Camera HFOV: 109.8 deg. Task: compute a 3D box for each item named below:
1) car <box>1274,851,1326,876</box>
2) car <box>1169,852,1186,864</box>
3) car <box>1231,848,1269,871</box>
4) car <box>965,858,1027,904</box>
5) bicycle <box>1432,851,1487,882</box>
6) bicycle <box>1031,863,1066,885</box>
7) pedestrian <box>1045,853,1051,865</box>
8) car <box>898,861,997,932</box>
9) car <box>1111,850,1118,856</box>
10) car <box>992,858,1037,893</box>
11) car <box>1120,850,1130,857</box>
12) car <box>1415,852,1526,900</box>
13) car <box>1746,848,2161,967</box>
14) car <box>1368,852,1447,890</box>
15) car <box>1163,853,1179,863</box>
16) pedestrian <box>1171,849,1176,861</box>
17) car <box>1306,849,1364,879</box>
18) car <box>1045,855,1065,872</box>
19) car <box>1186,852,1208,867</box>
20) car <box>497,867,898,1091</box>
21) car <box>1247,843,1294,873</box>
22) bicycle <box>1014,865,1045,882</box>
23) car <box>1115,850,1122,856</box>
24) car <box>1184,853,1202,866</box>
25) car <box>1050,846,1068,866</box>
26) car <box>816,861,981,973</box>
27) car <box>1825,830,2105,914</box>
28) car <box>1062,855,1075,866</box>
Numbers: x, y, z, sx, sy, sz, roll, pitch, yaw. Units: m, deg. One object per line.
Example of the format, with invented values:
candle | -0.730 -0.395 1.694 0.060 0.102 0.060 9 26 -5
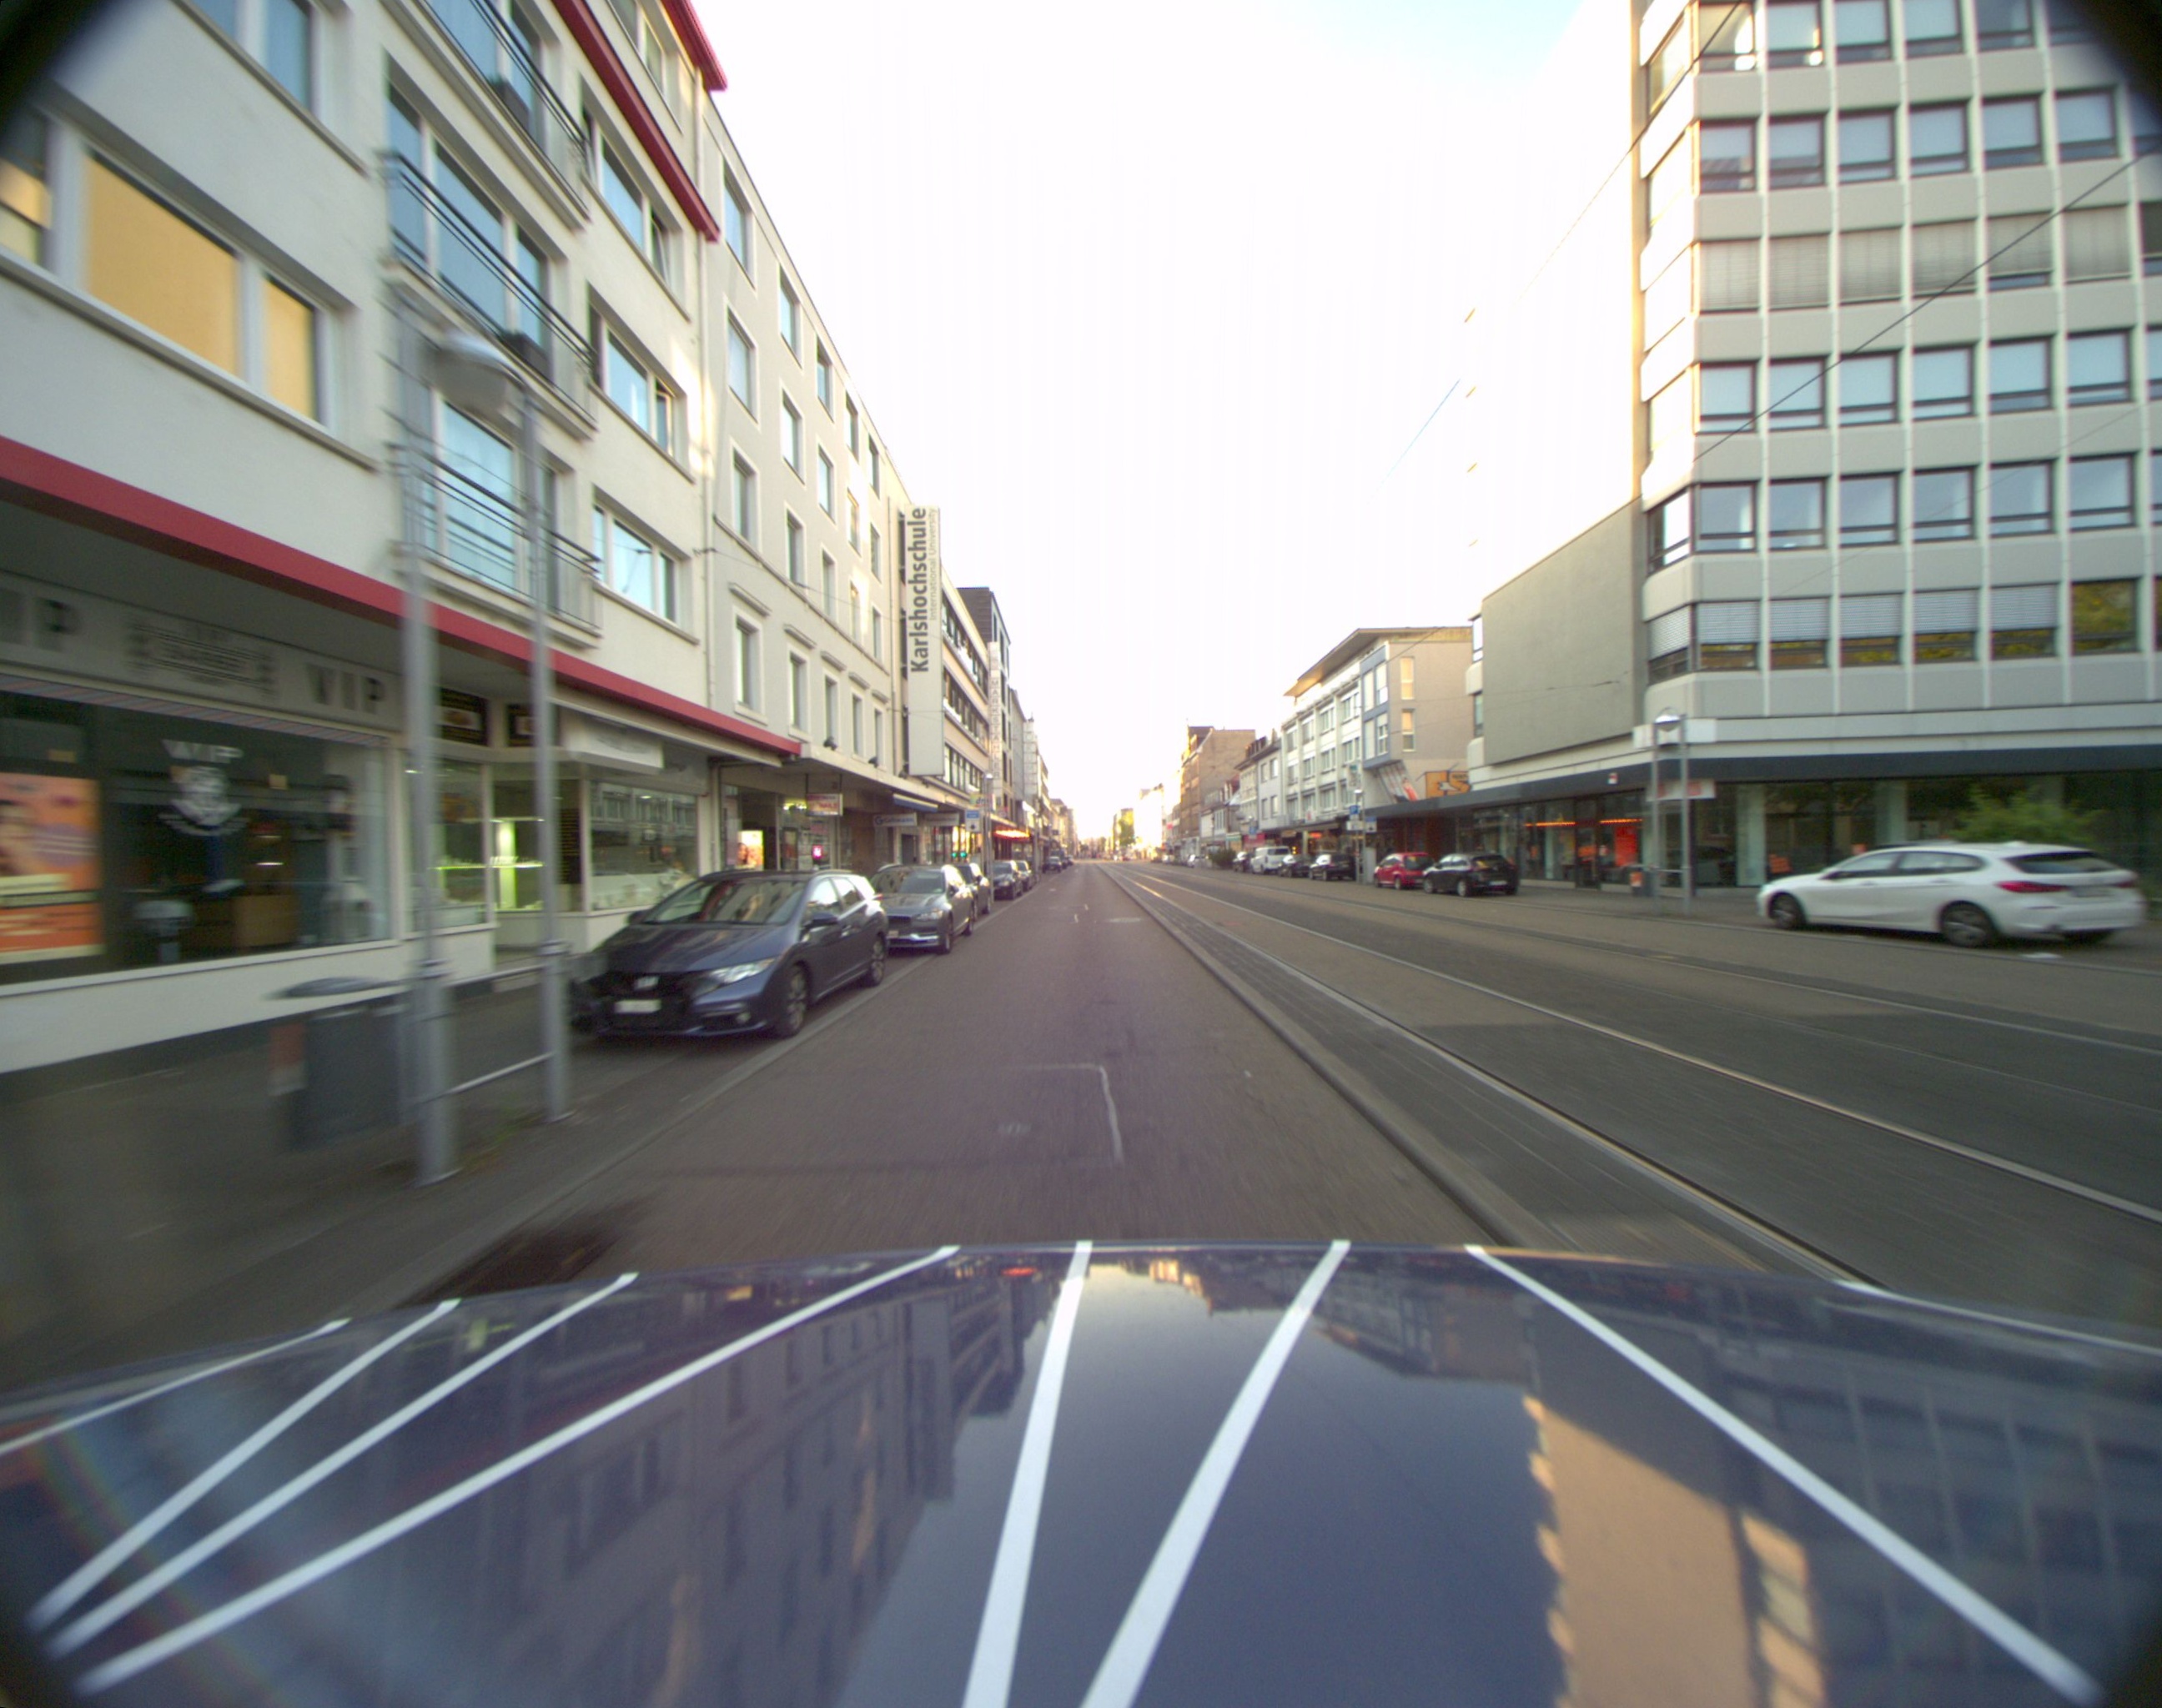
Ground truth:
car | 13.539 0.551 47.279 1.876 1.418 4.570 -3 1 1
car | 13.955 0.584 110.077 1.846 1.484 3.816 -3 1 1
car | 13.823 0.401 62.406 1.998 1.687 4.588 -3 1 1
car | -3.190 0.984 29.245 1.769 1.504 4.071 -3 1 1
bicycle | 17.433 0.567 34.989 2.051 1.332 0.875 -3 1 1
bicycle | -1.726 1.048 40.183 1.844 1.103 0.642 -1 1 -3
pedestrian | -4.779 0.753 110.147 0.743 1.746 0.789 1 1 -3
car | -3.311 0.998 19.586 1.730 1.473 4.000 -3 1 1
car | 11.080 -0.352 248.112 1.999 1.830 3.999 -3 1 0
car | -3.125 0.993 36.378 1.658 1.454 4.022 -3 1 1
car | 10.890 -0.217 188.320 1.999 1.554 3.999 -3 1 0
car | 13.159 0.699 25.946 1.696 1.417 3.965 -3 0 1
car | 13.154 0.687 11.869 1.725 1.444 4.283 -3 0 0
car | 13.211 0.644 30.955 1.696 1.426 3.592 -2 0 0
car | 14.464 0.615 122.233 1.999 1.412 4.403 -2 1 -2
pedestrian | 16.967 0.177 139.921 0.748 2.002 1.049 -3 2 5
car | 13.469 0.507 40.546 1.794 1.452 4.091 -1 0 1
car | -2.542 0.909 74.044 1.744 1.532 3.965 -1 1 0
car | 13.640 0.601 89.352 1.896 1.547 4.622 -3 1 1
car | -3.372 0.966 7.816 1.785 1.513 4.357 -3 0 1
car | 13.602 0.253 54.795 1.969 2.002 5.099 -3 1 0
bicycle | -3.078 1.186 45.690 1.799 0.967 0.575 1 0 -2
car | 11.344 -0.309 231.648 1.999 1.433 3.999 -3 1 0
car | 13.924 0.655 94.616 1.660 1.561 3.470 -3 1 1
car | -2.757 0.260 96.510 2.080 2.434 5.603 -3 0 -1
car | -3.070 0.975 13.910 1.796 1.524 4.856 -3 1 0
car | 19.312 0.360 16.743 3.997 1.544 1.914 -3 1 -2
car | -2.076 0.983 125.469 1.999 1.663 3.876 -3 1 0
